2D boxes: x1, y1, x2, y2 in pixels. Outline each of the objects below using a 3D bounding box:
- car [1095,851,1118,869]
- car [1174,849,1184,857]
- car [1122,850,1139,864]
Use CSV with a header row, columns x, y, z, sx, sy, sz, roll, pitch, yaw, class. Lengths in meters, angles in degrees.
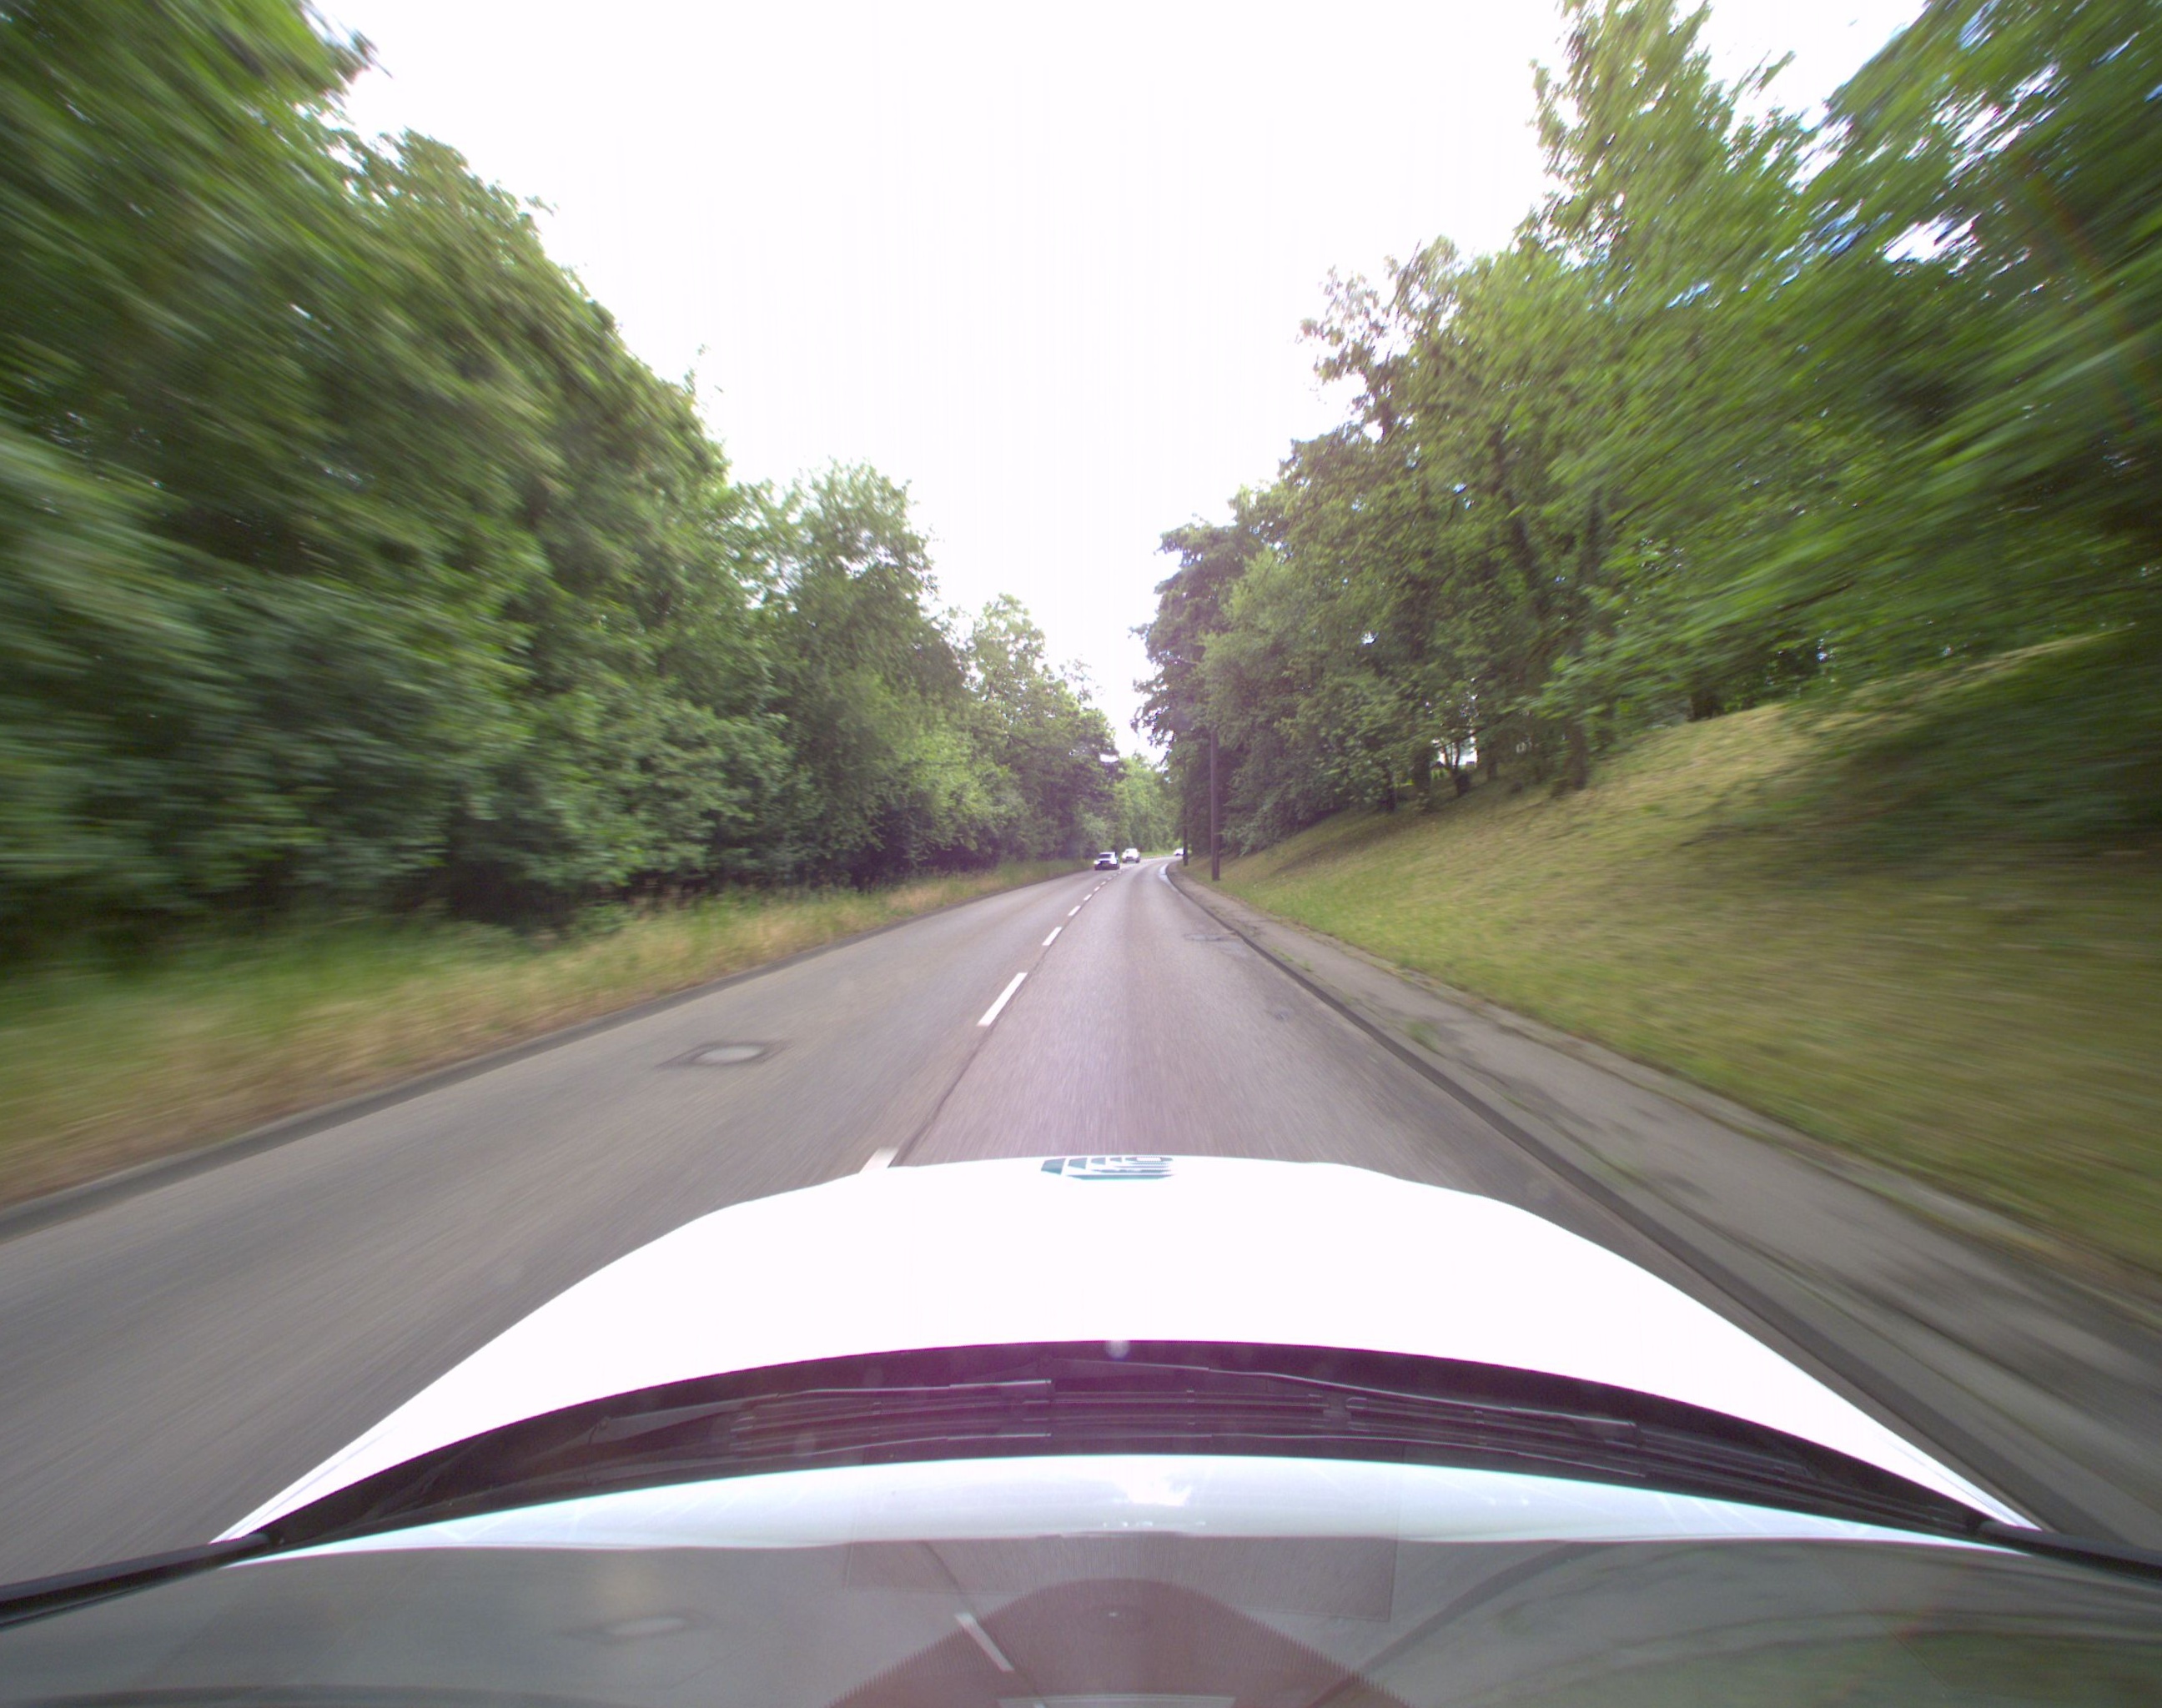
x,y,z,sx,sy,sz,roll,pitch,yaw,class
2.127,0.459,67.954,1.802,1.420,4.003,-1,0,3,car
20.892,-0.181,173.746,1.985,1.542,4.003,-1,0,3,car
5.935,0.318,97.808,1.934,1.581,4.444,-1,0,3,car
